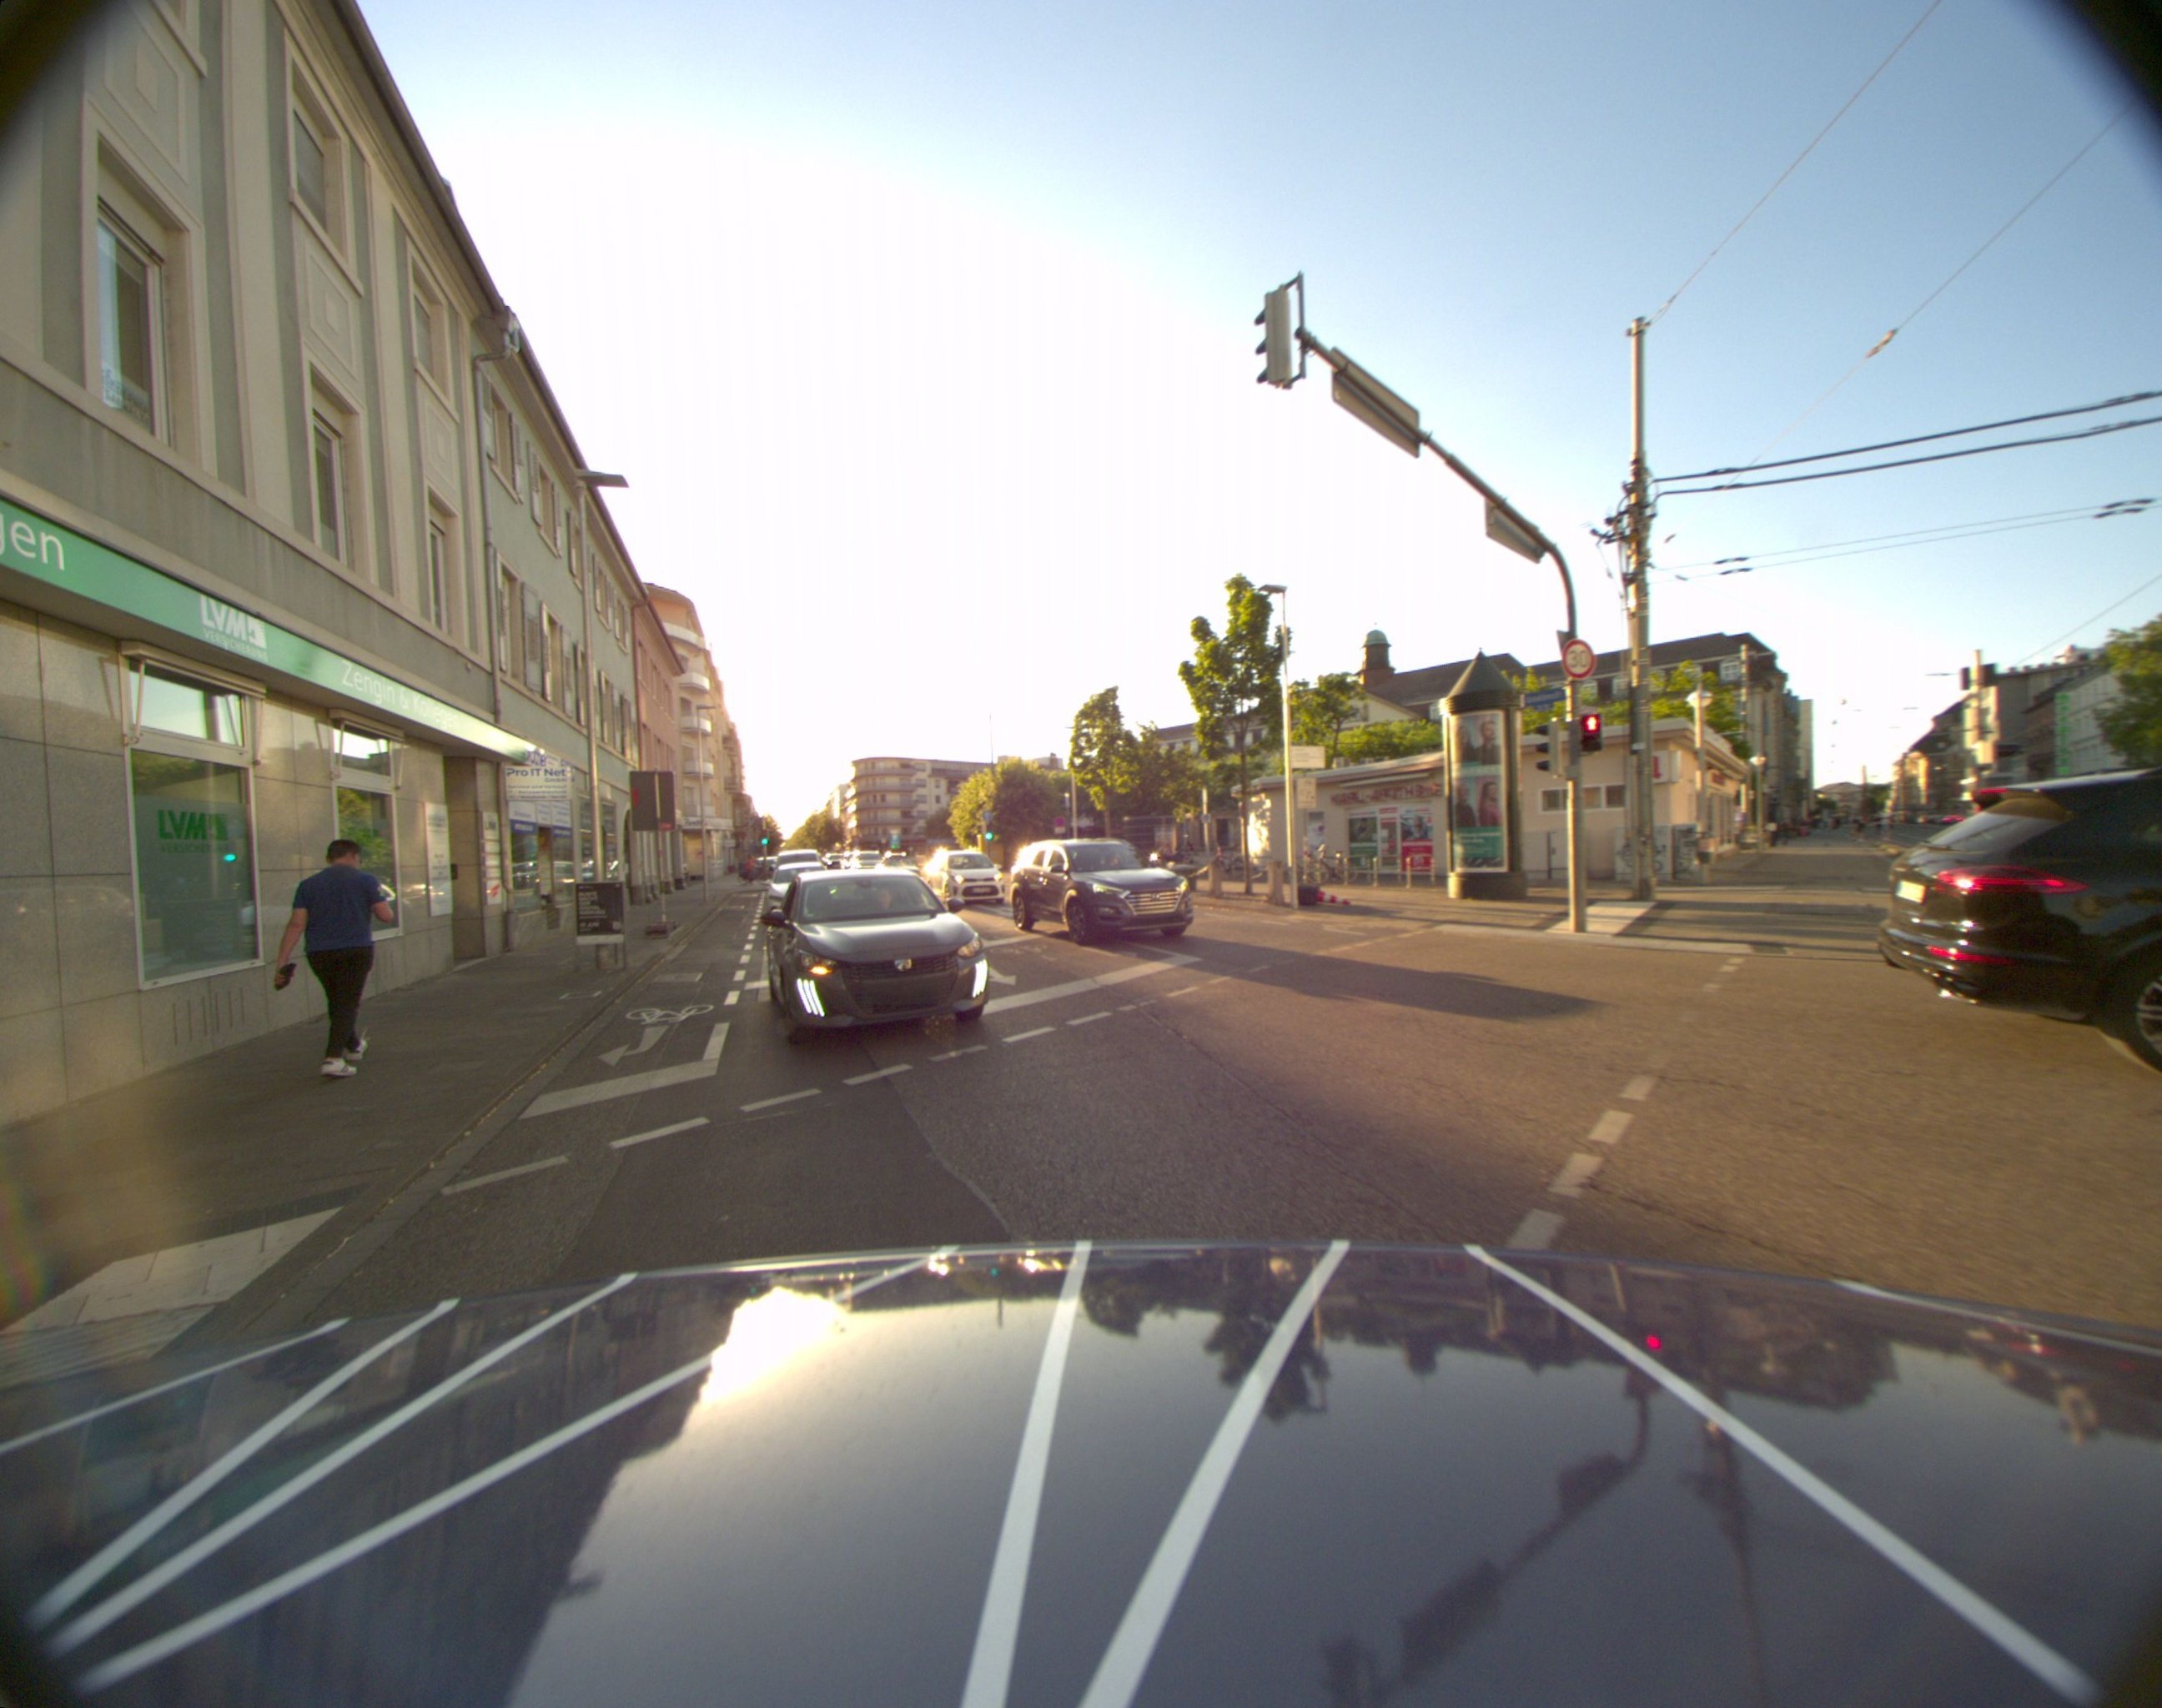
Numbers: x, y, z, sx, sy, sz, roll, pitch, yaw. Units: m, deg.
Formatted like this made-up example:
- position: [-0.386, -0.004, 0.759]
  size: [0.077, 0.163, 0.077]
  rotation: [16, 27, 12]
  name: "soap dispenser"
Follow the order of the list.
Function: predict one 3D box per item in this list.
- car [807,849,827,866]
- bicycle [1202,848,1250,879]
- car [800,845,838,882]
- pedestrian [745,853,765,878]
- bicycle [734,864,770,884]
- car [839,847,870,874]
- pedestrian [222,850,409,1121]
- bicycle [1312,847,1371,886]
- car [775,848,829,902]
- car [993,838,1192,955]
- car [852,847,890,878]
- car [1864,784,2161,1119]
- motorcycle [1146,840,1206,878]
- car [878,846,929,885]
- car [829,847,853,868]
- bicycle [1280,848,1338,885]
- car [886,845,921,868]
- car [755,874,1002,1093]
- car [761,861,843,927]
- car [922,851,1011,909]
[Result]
- position: [-28.884, 0.363, 83.036]
  size: [1.883, 1.762, 3.993]
  rotation: [-3, 1, -20]
  name: "car"
- position: [5.480, 0.362, 28.710]
  size: [1.813, 1.096, 0.395]
  rotation: [-3, 2, -22]
  name: "bicycle"
- position: [-15.316, 0.518, 44.337]
  size: [1.894, 2.002, 3.885]
  rotation: [-3, 1, -20]
  name: "car"
- position: [-18.303, 0.662, 42.648]
  size: [0.859, 1.343, 0.561]
  rotation: [-2, 2, -10]
  name: "pedestrian"
- position: [-18.452, 1.108, 42.642]
  size: [1.705, 1.051, 0.561]
  rotation: [-2, 2, -11]
  name: "bicycle"
- position: [-16.146, 0.412, 54.032]
  size: [1.883, 1.762, 3.993]
  rotation: [-3, 1, -19]
  name: "car"
- position: [-5.633, 0.887, 5.663]
  size: [0.694, 1.817, 0.878]
  rotation: [-2, 2, -28]
  name: "pedestrian"
- position: [8.006, 0.368, 23.328]
  size: [1.873, 1.108, 0.448]
  rotation: [-2, 2, -21]
  name: "bicycle"
- position: [-10.774, 0.751, 29.326]
  size: [1.830, 1.918, 3.977]
  rotation: [-1, 1, -21]
  name: "car"
- position: [0.005, 0.617, 13.576]
  size: [1.831, 1.688, 4.250]
  rotation: [-3, 1, -25]
  name: "car"
- position: [-12.605, 0.462, 45.506]
  size: [1.830, 1.731, 3.977]
  rotation: [-1, 1, -21]
  name: "car"
- position: [7.192, 0.430, 3.632]
  size: [4.556, 1.688, 1.809]
  rotation: [-2, 1, 37]
  name: "car"
- position: [3.973, 0.193, 31.640]
  size: [2.403, 1.438, 0.699]
  rotation: [-3, 2, -22]
  name: "motorcycle"
- position: [-8.394, 0.482, 35.730]
  size: [1.830, 1.731, 3.977]
  rotation: [-1, 1, -21]
  name: "car"
- position: [-21.903, 0.327, 69.292]
  size: [1.883, 1.762, 3.993]
  rotation: [-3, 1, -19]
  name: "car"
- position: [7.305, 0.378, 24.287]
  size: [1.873, 1.108, 0.448]
  rotation: [-2, 2, -21]
  name: "bicycle"
- position: [-13.412, 0.192, 57.212]
  size: [1.883, 1.594, 3.992]
  rotation: [-3, 1, -22]
  name: "car"
- position: [-2.280, 1.006, 7.708]
  size: [1.754, 1.434, 3.898]
  rotation: [-3, 1, -24]
  name: "car"
- position: [-7.629, 0.998, 20.762]
  size: [1.830, 1.463, 3.977]
  rotation: [-4, 2, -21]
  name: "car"
- position: [-3.444, 0.688, 22.301]
  size: [1.721, 1.463, 3.978]
  rotation: [-3, 1, -21]
  name: "car"
